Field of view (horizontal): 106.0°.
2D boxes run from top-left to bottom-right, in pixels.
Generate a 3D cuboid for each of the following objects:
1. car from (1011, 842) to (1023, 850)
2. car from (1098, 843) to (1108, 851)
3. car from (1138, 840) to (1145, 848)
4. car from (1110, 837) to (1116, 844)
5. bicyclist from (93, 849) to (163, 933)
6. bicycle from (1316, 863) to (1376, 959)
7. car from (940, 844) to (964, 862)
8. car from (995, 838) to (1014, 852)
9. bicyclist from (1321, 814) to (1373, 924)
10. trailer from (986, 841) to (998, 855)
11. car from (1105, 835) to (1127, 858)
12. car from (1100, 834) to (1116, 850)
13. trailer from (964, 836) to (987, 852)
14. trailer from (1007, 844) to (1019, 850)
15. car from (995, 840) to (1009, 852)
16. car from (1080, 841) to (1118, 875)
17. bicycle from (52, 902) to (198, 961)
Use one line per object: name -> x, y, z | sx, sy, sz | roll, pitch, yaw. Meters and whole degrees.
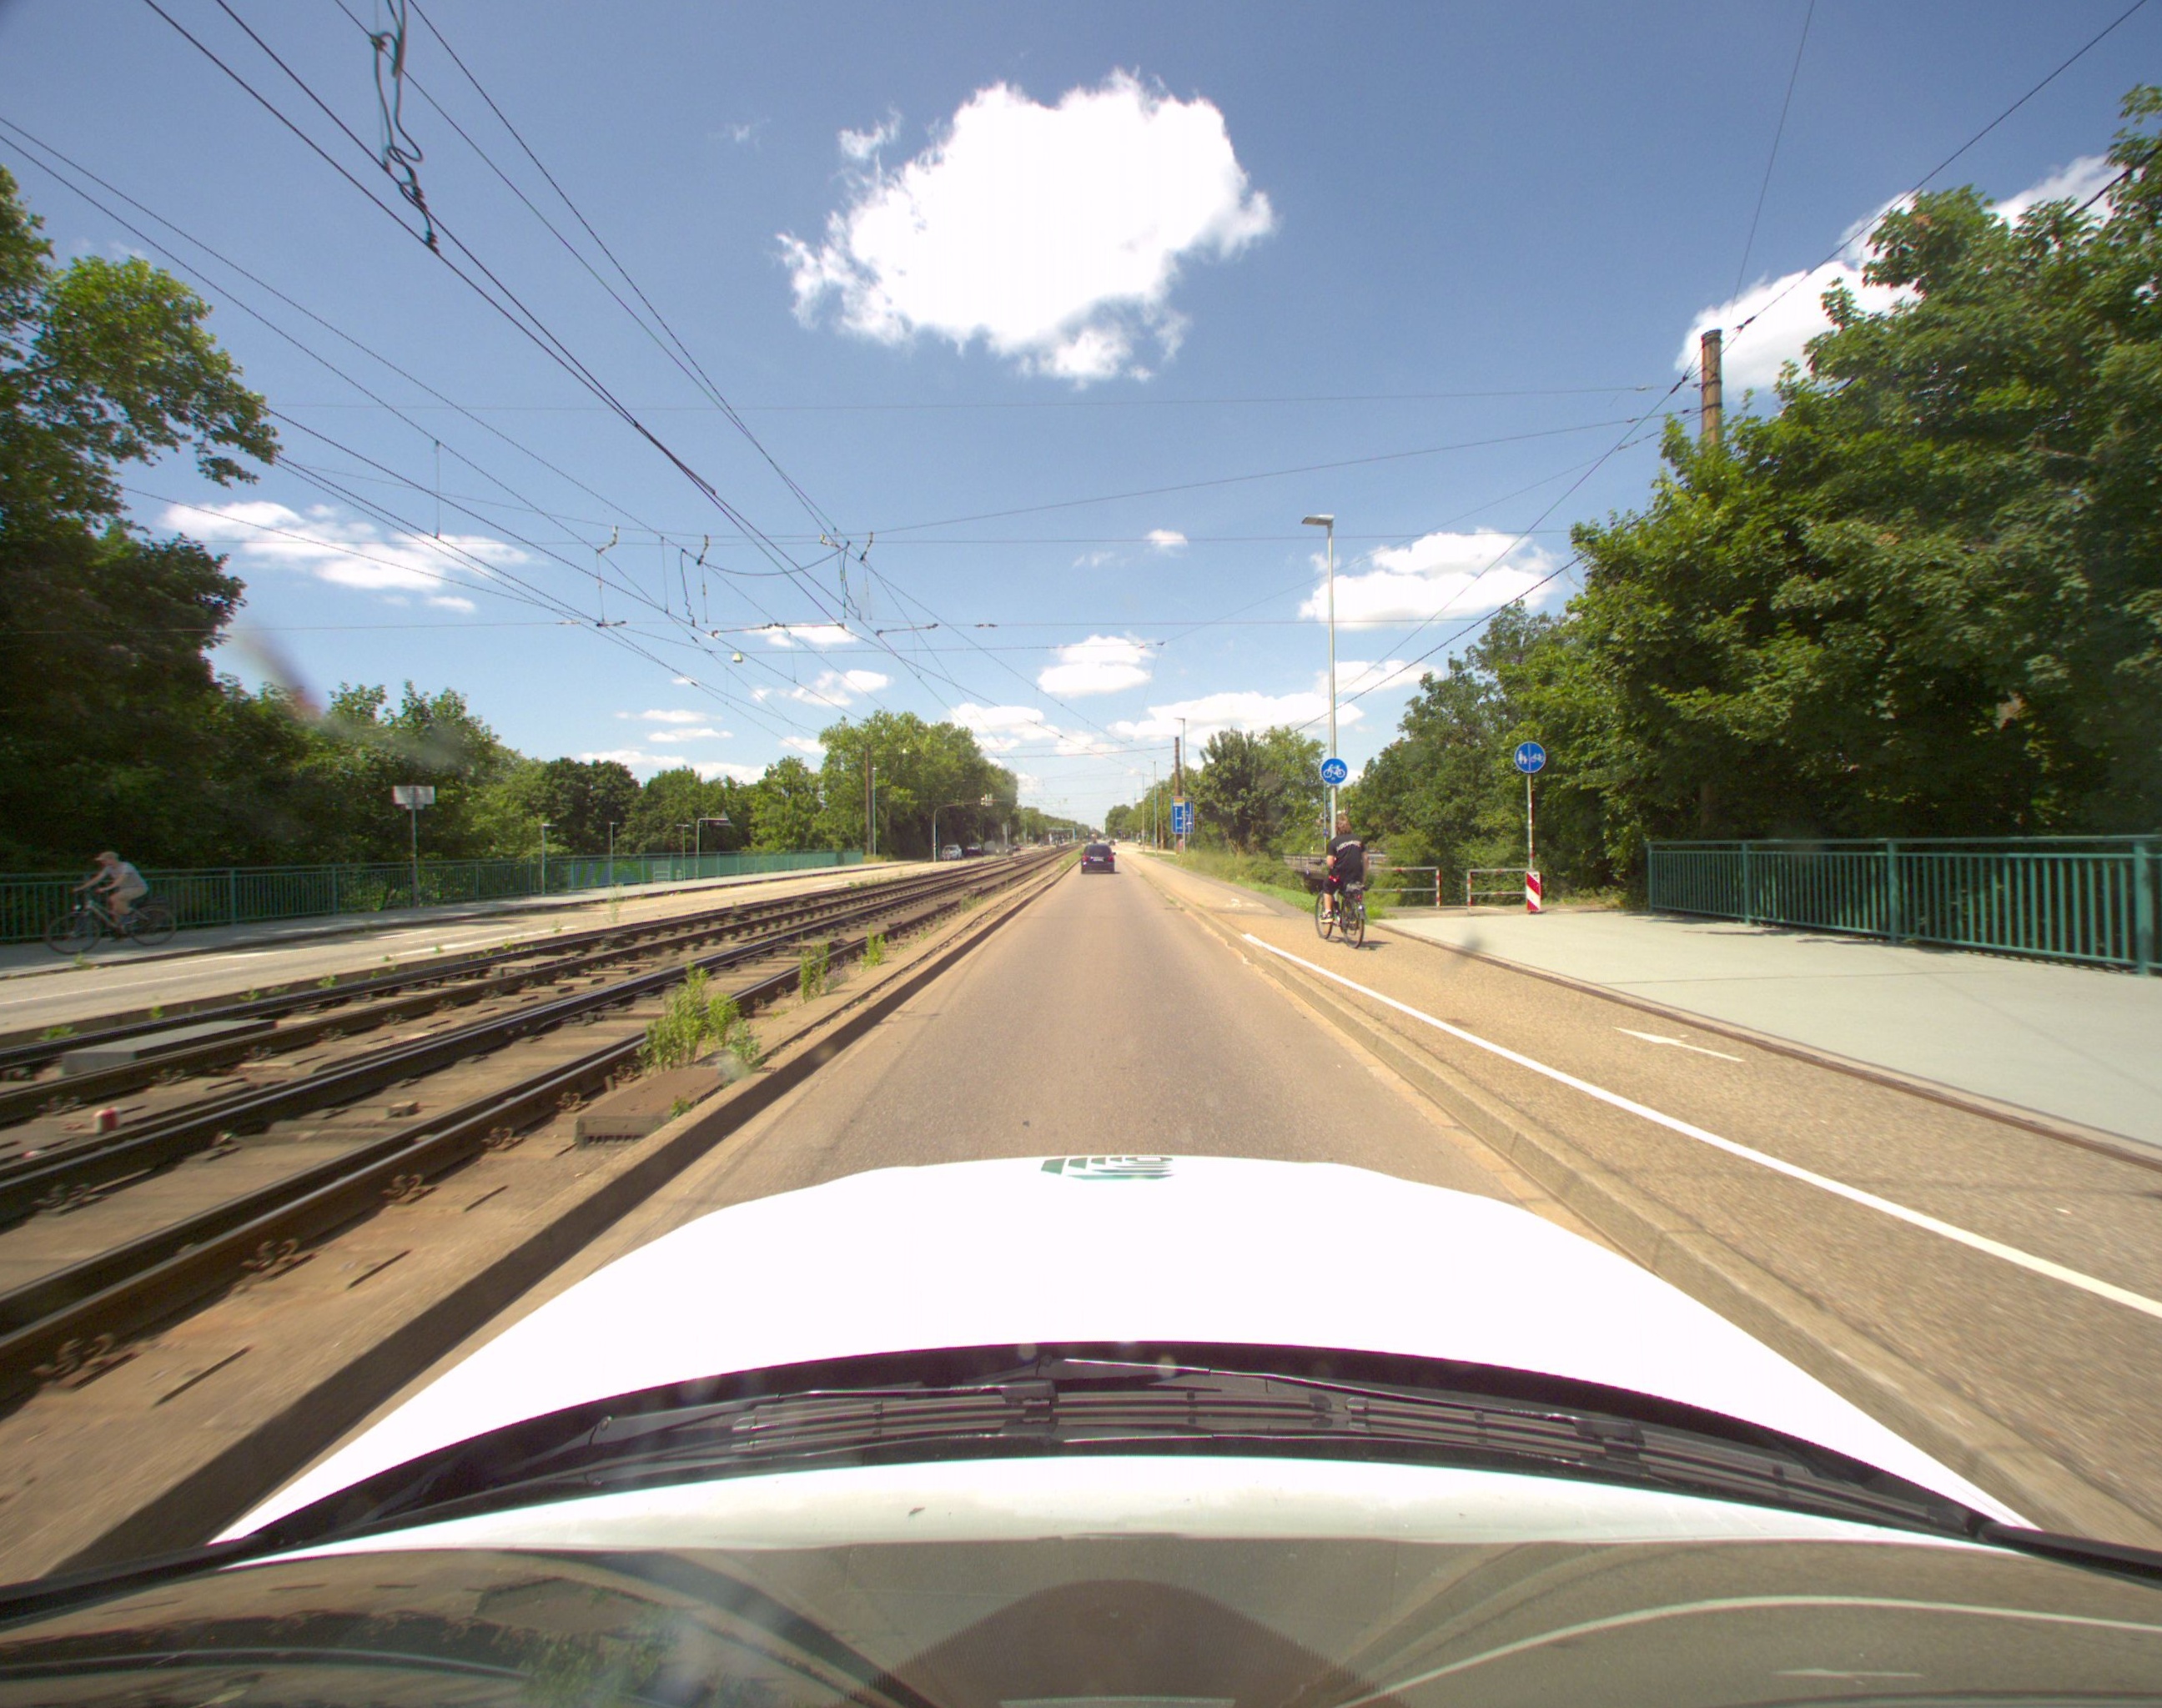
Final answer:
car -> -13.422, -1.743, 170.855 | 1.987, 1.573, 4.001 | -1, 1, 1
car -> 4.812, -1.549, 177.962 | 1.877, 1.639, 4.003 | 2, 3, 2
car -> 15.791, -2.514, 212.065 | 1.607, 2.013, 3.441 | 0, 3, 1
car -> 9.444, -4.087, 240.702 | 1.780, 2.013, 4.003 | 0, 3, 1
bicyclist -> -17.255, 0.653, 14.754 | 0.454, 1.474, 0.634 | -1, 1, 4
bicycle -> 3.722, 0.750, 11.558 | 0.430, 1.152, 1.859 | 0, 3, 6
car -> -14.150, -0.159, 89.523 | 1.714, 1.630, 4.617 | -4, 3, 0
car -> -9.905, -1.181, 106.323 | 1.868, 1.720, 5.332 | -1, 1, 1
bicyclist -> 3.711, 0.196, 11.393 | 0.582, 1.494, 0.559 | 0, 2, 6
trailer -> -13.729, -0.912, 125.808 | 1.605, 2.013, 3.914 | 0, 2, -2
car -> 3.375, -0.738, 78.591 | 1.986, 2.013, 4.004 | 0, 3, 2
car -> 3.576, -1.665, 108.765 | 1.987, 2.013, 4.001 | 0, 3, 0
trailer -> -13.642, -1.291, 105.331 | 2.456, 1.888, 5.956 | -1, 1, -3
trailer -> -13.422, -1.368, 161.677 | 1.886, 1.044, 5.104 | 0, 2, 0
car -> -13.687, -1.376, 141.193 | 1.847, 2.013, 4.003 | 0, 3, 2
car -> 1.016, 0.164, 43.659 | 1.845, 1.569, 4.394 | 0, 3, 4
bicycle -> -17.240, 1.373, 14.749 | 0.467, 0.868, 1.745 | -1, 1, 4
